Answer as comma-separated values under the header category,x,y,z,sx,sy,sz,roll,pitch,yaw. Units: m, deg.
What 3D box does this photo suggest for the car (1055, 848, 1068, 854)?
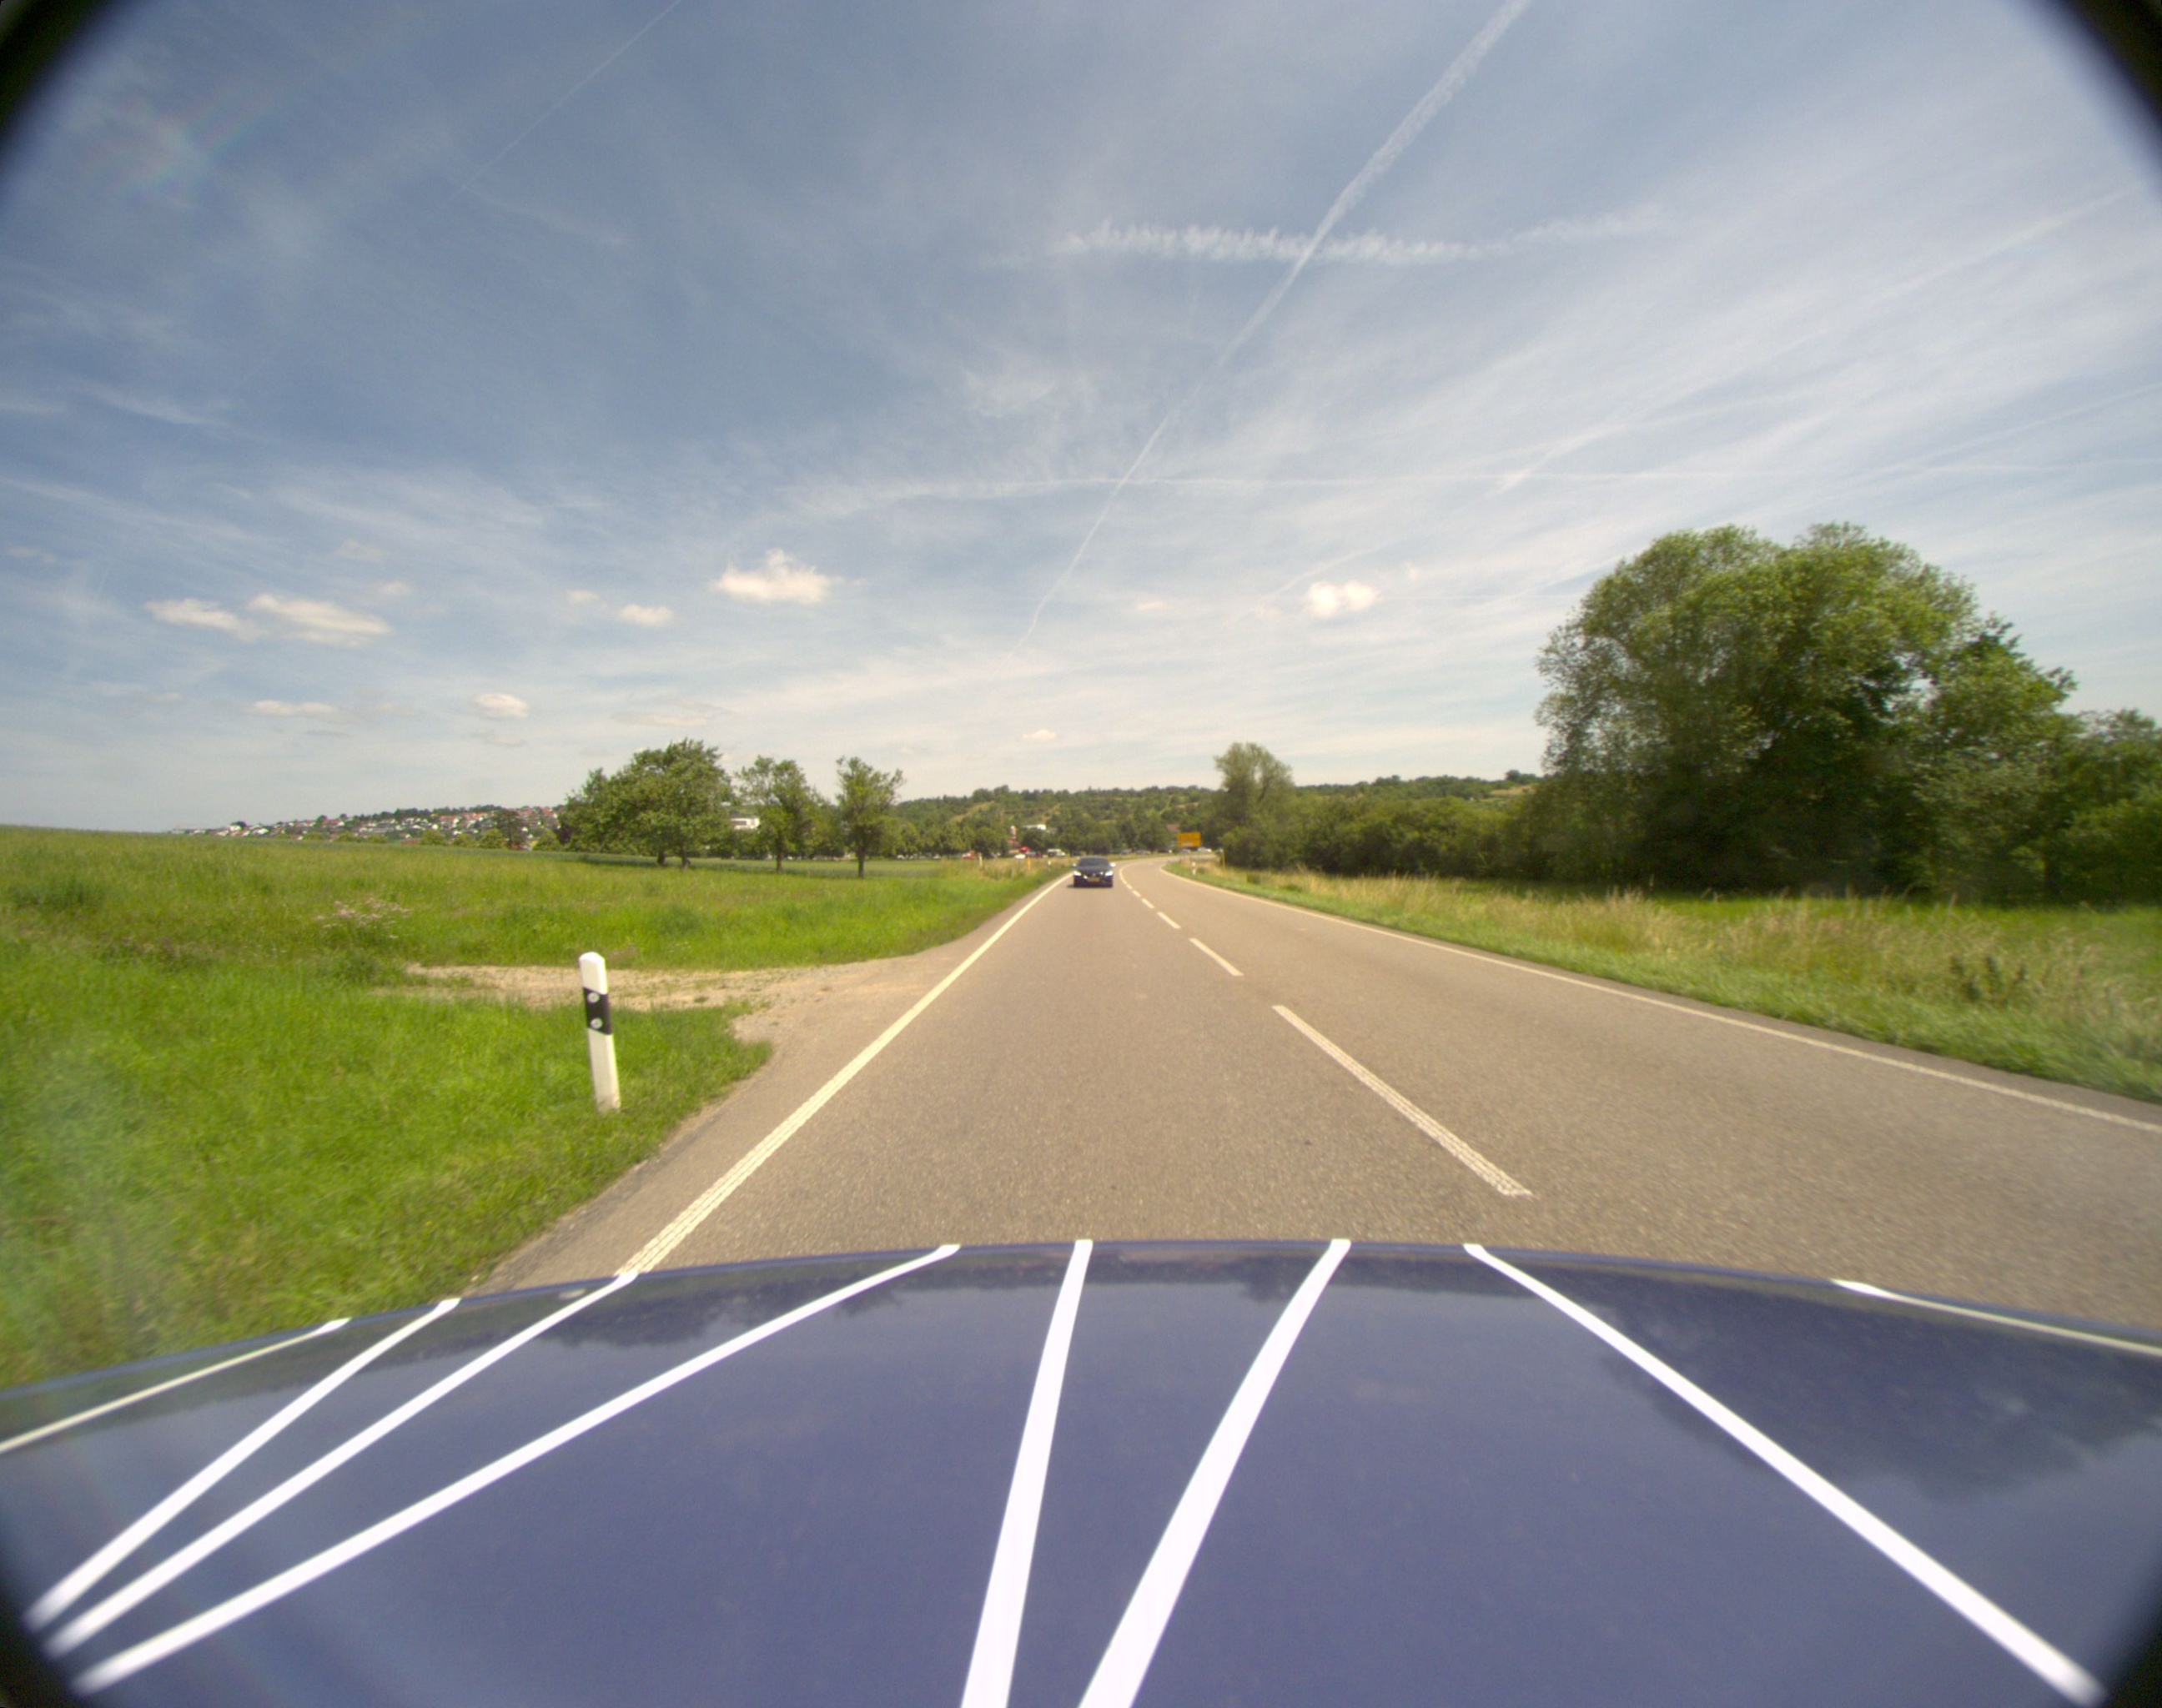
category,x,y,z,sx,sy,sz,roll,pitch,yaw
car,-6.199,-1.016,238.819,3.997,2.002,1.887,0,1,-1

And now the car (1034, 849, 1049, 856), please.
category,x,y,z,sx,sy,sz,roll,pitch,yaw
car,-12.427,-0.410,239.163,4.469,2.002,1.887,0,1,-3

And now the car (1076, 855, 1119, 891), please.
category,x,y,z,sx,sy,sz,roll,pitch,yaw
car,0.724,0.812,34.272,1.785,1.440,4.604,0,1,1
